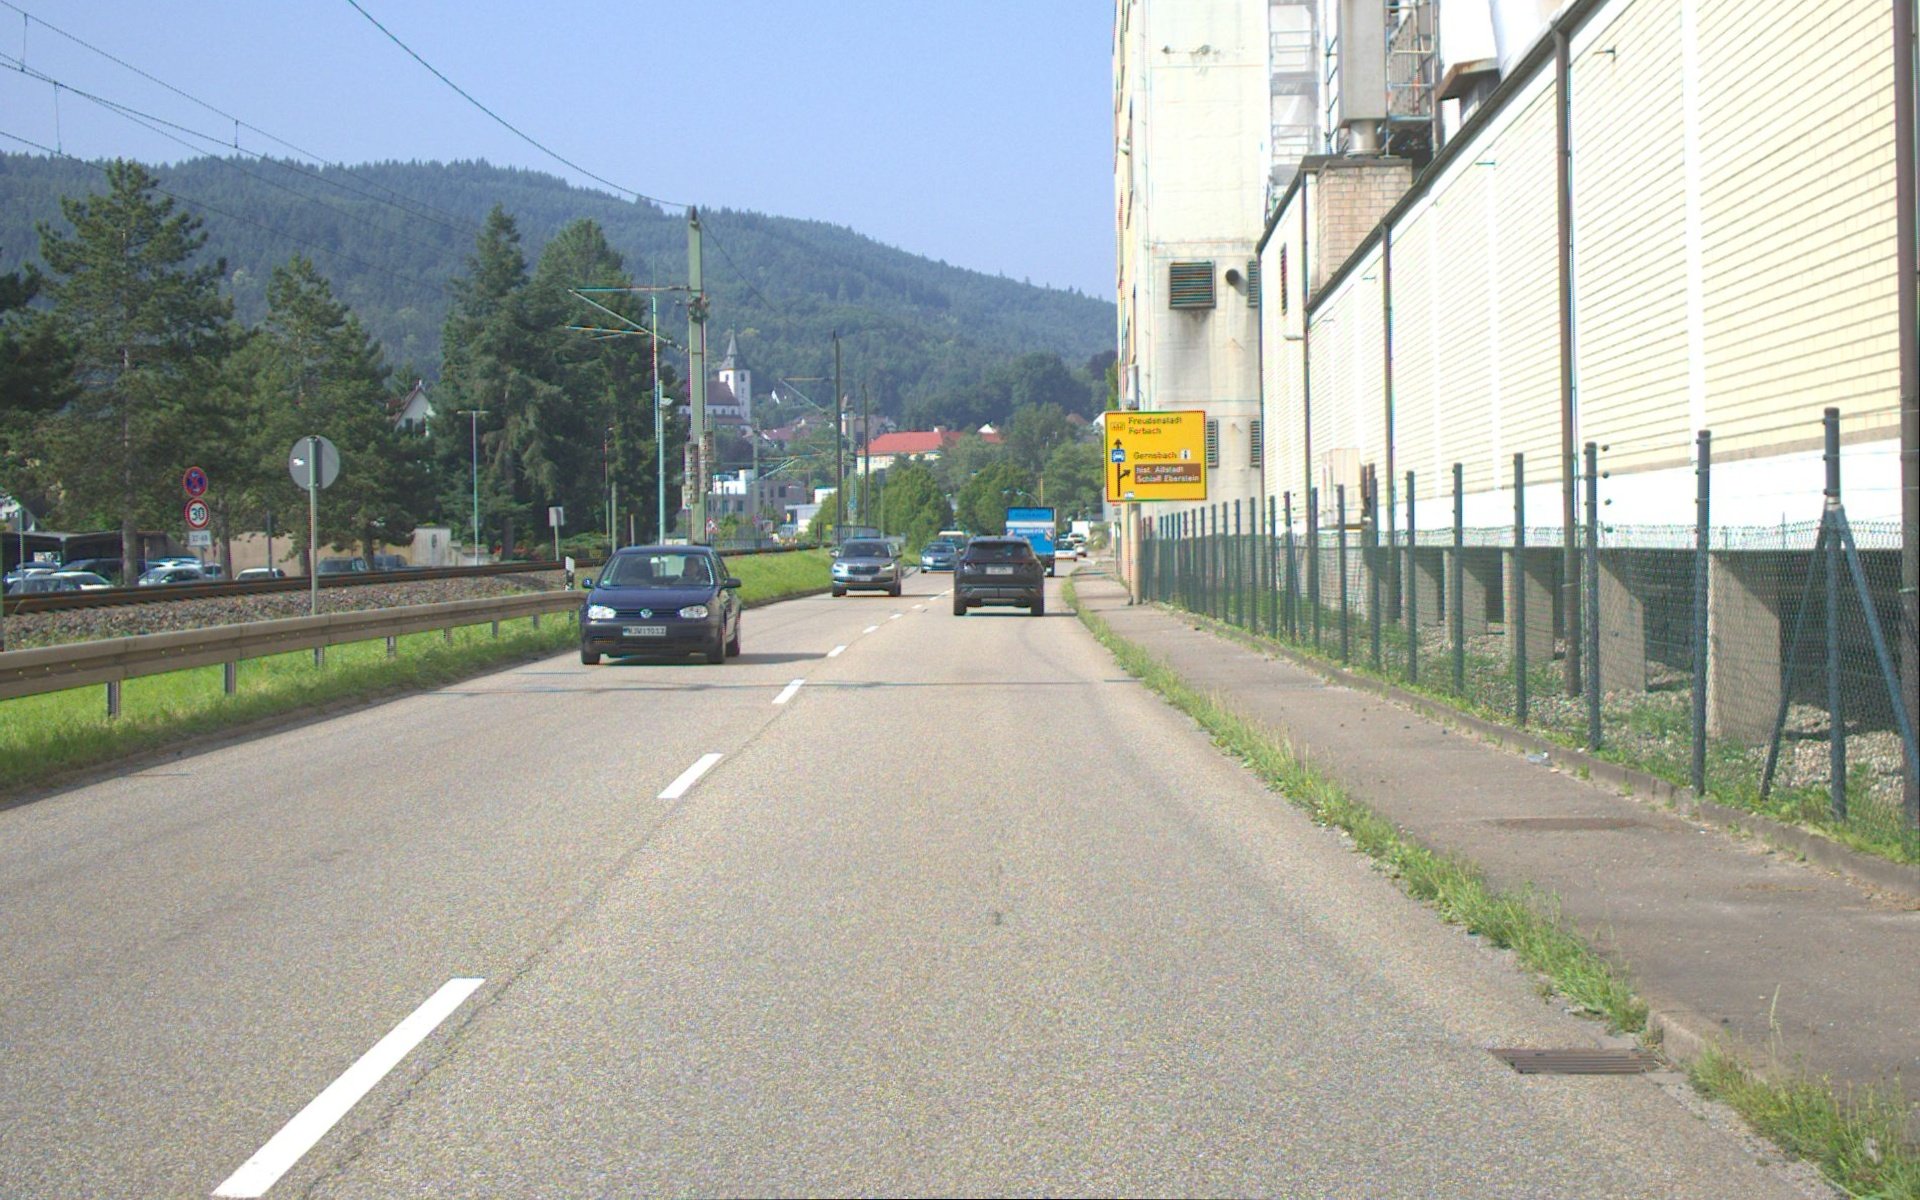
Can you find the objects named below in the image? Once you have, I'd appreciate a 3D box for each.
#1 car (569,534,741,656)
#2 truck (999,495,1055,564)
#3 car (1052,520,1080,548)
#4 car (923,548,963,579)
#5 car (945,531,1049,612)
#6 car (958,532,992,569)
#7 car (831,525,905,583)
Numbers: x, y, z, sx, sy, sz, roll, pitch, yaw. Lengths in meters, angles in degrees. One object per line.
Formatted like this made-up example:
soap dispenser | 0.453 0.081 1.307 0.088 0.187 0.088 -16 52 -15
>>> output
car | -3.704 -0.097 42.354 1.764 1.398 4.120 -1 1 0
truck | 2.931 -3.109 152.015 2.312 2.960 5.966 -1 1 0
car | 6.866 -4.279 222.522 1.667 1.816 3.751 -1 1 3
car | -0.769 -1.730 161.267 1.768 1.400 4.297 -1 1 1
car | 0.791 -0.613 71.545 1.920 1.634 4.000 -1 1 4
car | 0.875 -2.893 199.622 1.758 2.071 4.807 1 1 3
car | -2.593 -1.300 97.642 1.906 1.595 4.570 0 1 1
